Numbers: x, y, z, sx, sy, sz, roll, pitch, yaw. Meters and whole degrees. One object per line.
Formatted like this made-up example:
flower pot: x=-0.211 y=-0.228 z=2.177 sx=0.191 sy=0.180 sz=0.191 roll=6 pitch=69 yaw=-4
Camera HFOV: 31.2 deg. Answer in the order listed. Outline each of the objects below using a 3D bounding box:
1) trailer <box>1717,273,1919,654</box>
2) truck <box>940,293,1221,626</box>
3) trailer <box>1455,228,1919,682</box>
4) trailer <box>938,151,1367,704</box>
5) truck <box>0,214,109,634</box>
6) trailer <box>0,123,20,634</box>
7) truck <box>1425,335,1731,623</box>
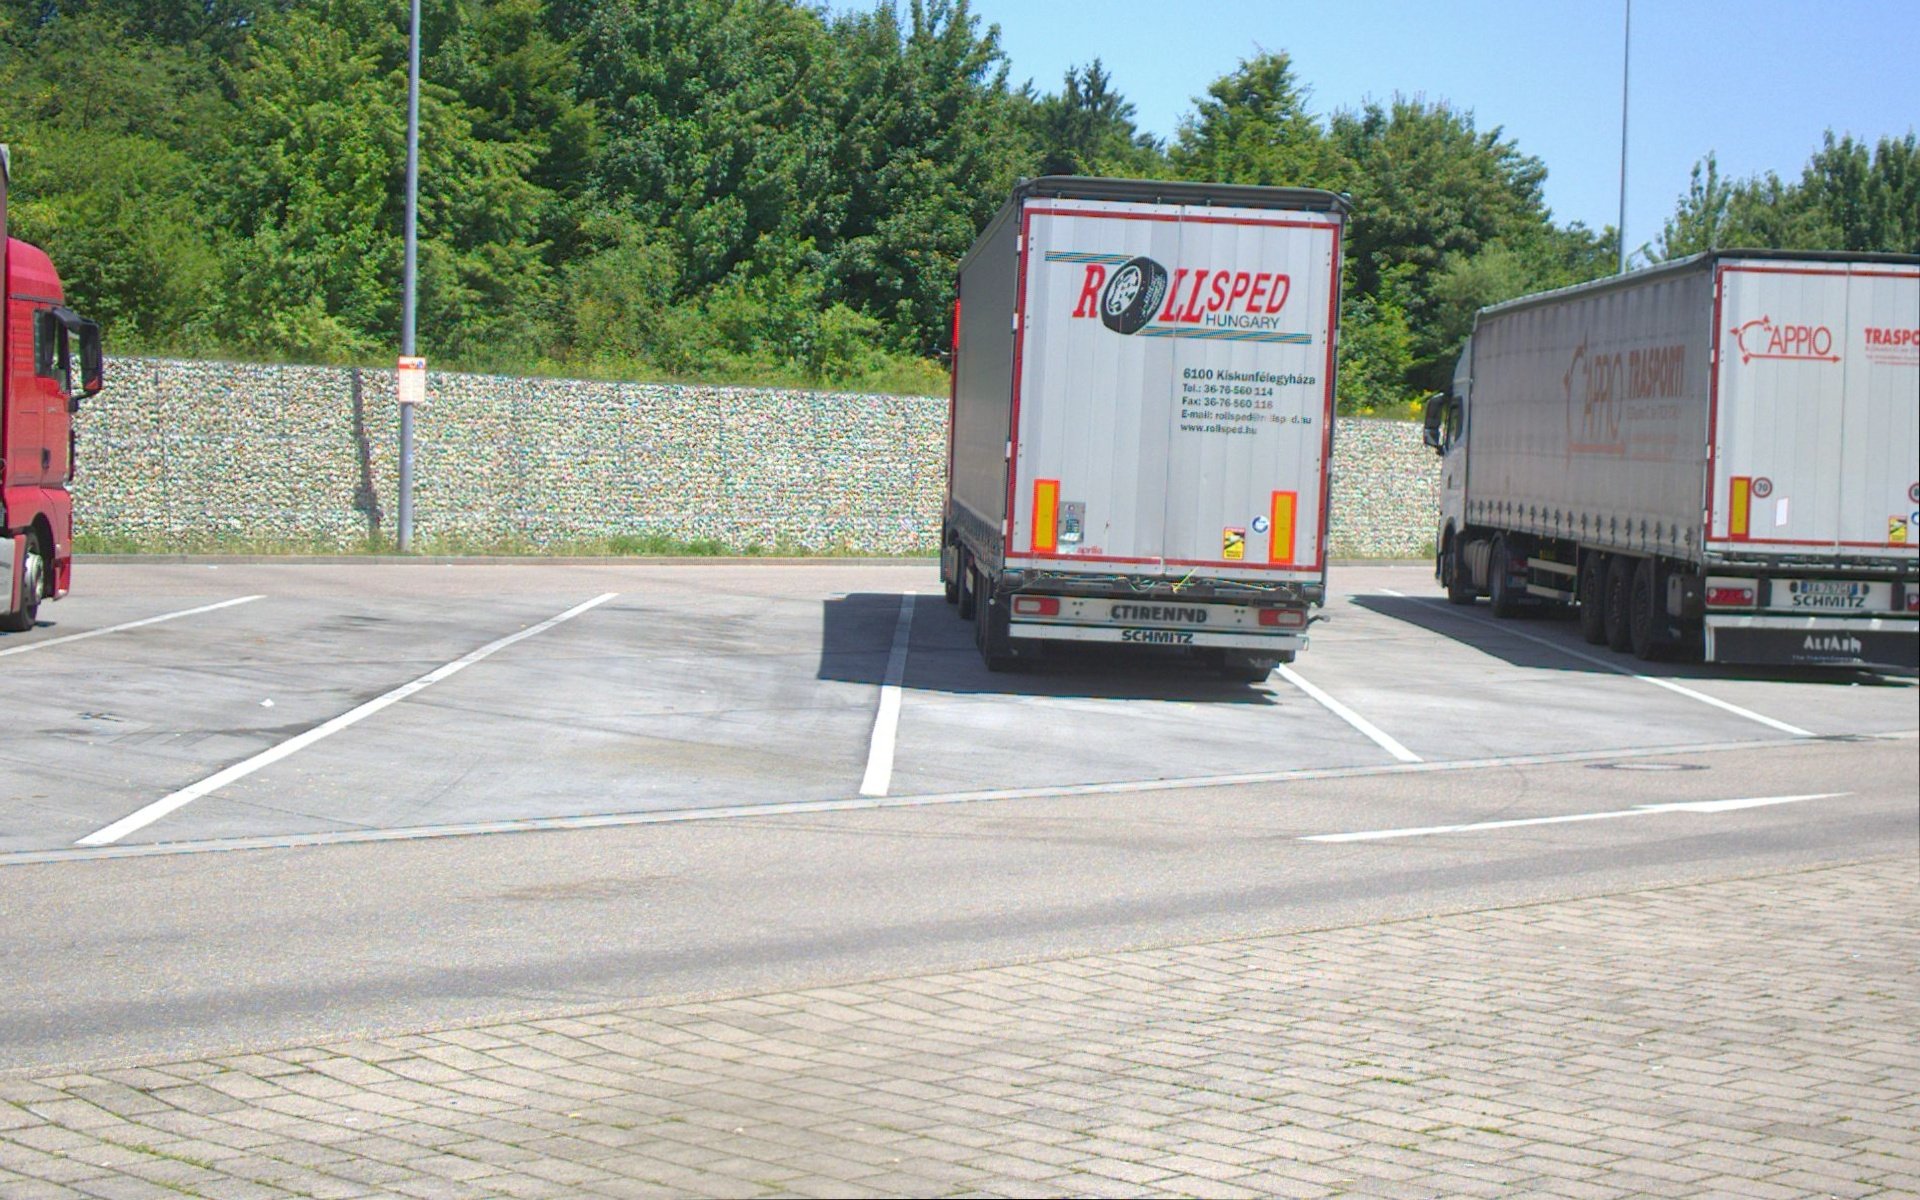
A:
trailer: x=11.785 y=-1.531 z=39.441 sx=2.838 sy=4.118 sz=13.724 roll=2 pitch=3 yaw=-1
truck: x=1.283 y=-1.631 z=39.811 sx=2.852 sy=3.472 sz=5.483 roll=2 pitch=2 yaw=-1
trailer: x=8.149 y=-1.629 z=38.688 sx=2.838 sy=4.118 sz=13.724 roll=2 pitch=3 yaw=-1
trailer: x=1.432 y=-1.624 z=33.198 sx=2.906 sy=4.118 sz=13.725 roll=2 pitch=3 yaw=-1
truck: x=-9.244 y=-1.508 z=28.740 sx=2.852 sy=3.416 sz=5.483 roll=2 pitch=2 yaw=-1
trailer: x=-9.153 y=-1.492 z=21.301 sx=2.906 sy=4.118 sz=13.725 roll=2 pitch=3 yaw=-1
truck: x=8.055 y=-1.627 z=45.501 sx=2.852 sy=3.472 sz=5.483 roll=2 pitch=2 yaw=-1
